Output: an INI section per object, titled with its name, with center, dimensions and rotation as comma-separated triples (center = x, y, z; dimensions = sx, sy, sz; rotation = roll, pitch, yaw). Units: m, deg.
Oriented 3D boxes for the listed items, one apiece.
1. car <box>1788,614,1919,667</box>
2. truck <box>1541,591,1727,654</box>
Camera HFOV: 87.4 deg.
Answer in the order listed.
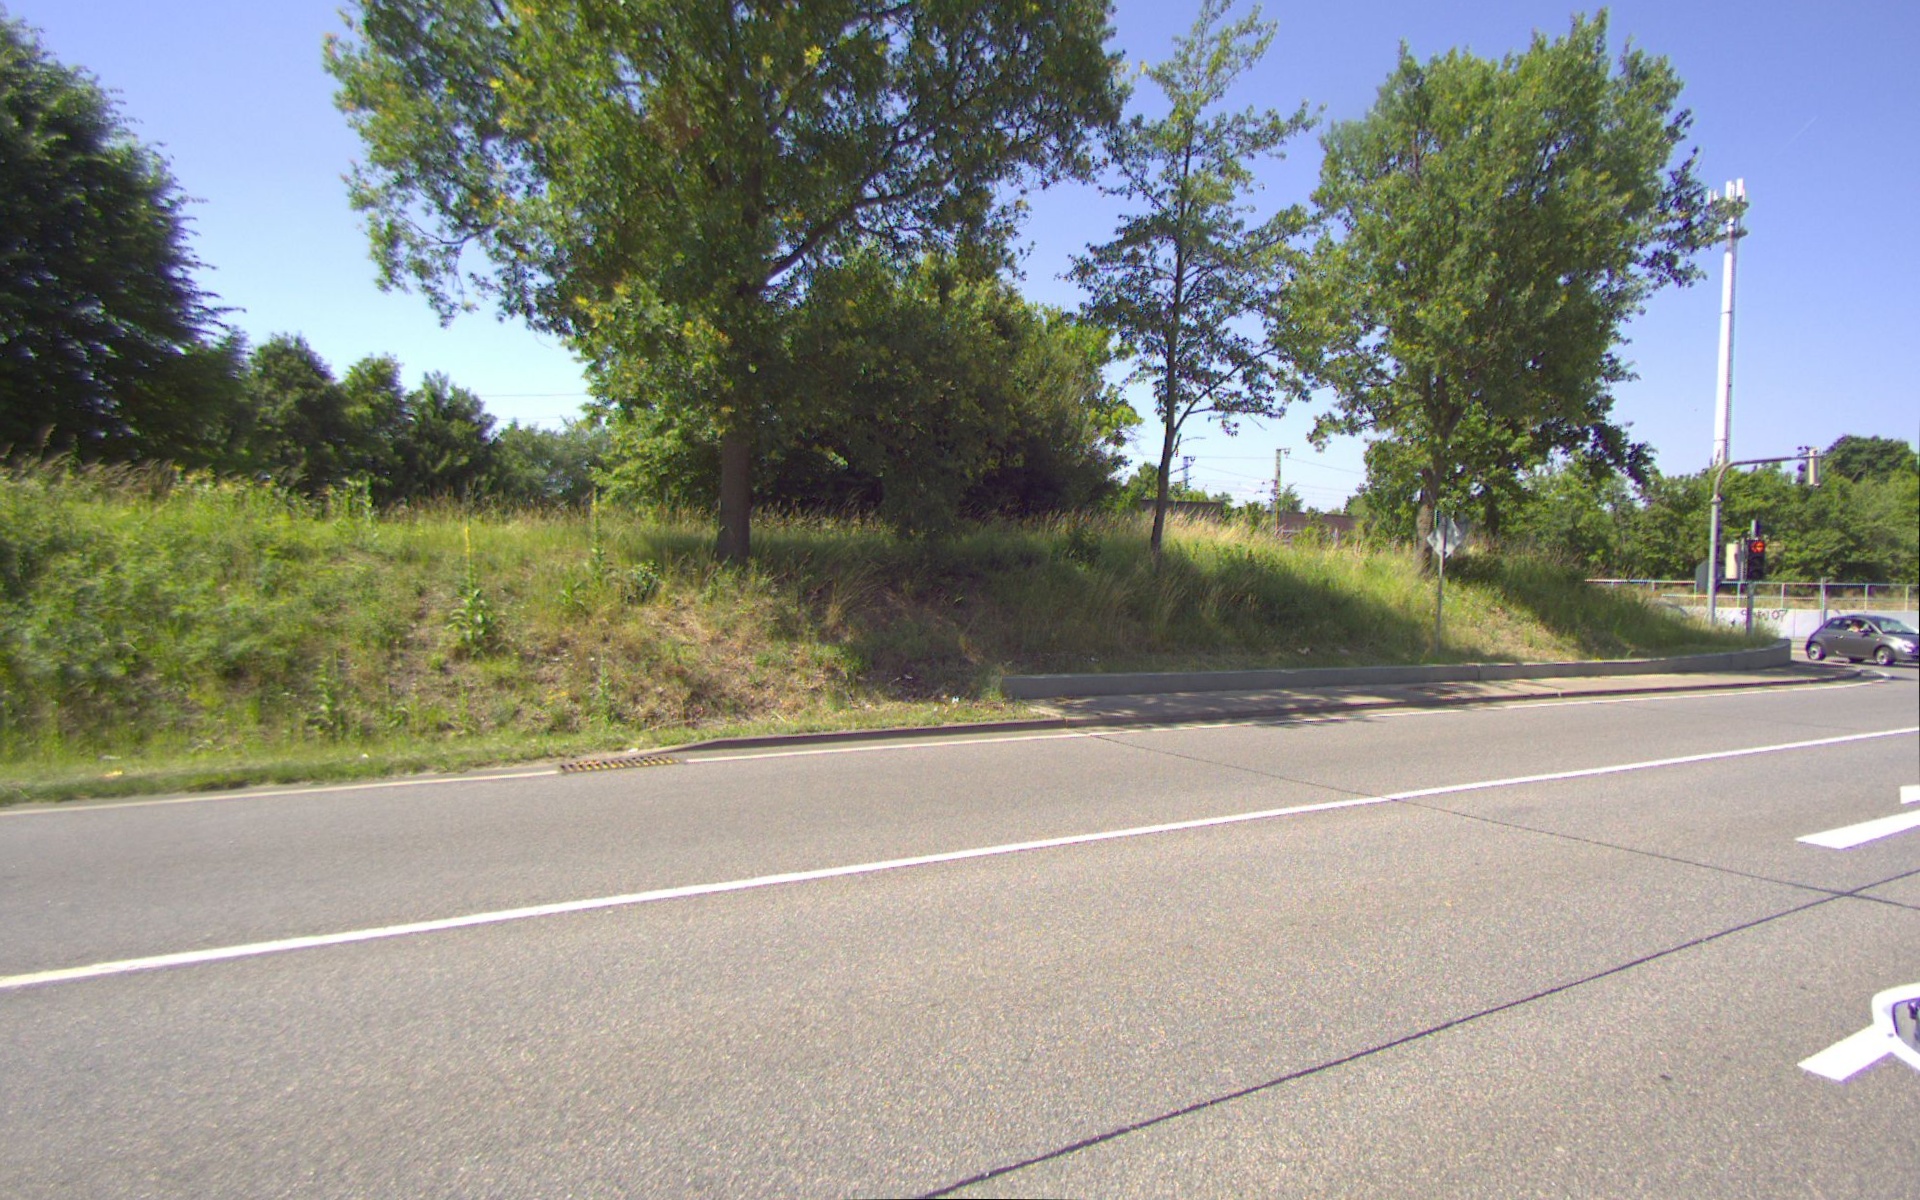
[car]
center = 28.129, 1.215, 31.211
dimensions = 1.563, 1.489, 3.595
rotation = 1, 0, -8
[truck]
center = 26.580, 0.800, 39.905
dimensions = 1.957, 2.305, 5.987
rotation = 1, 0, -25
